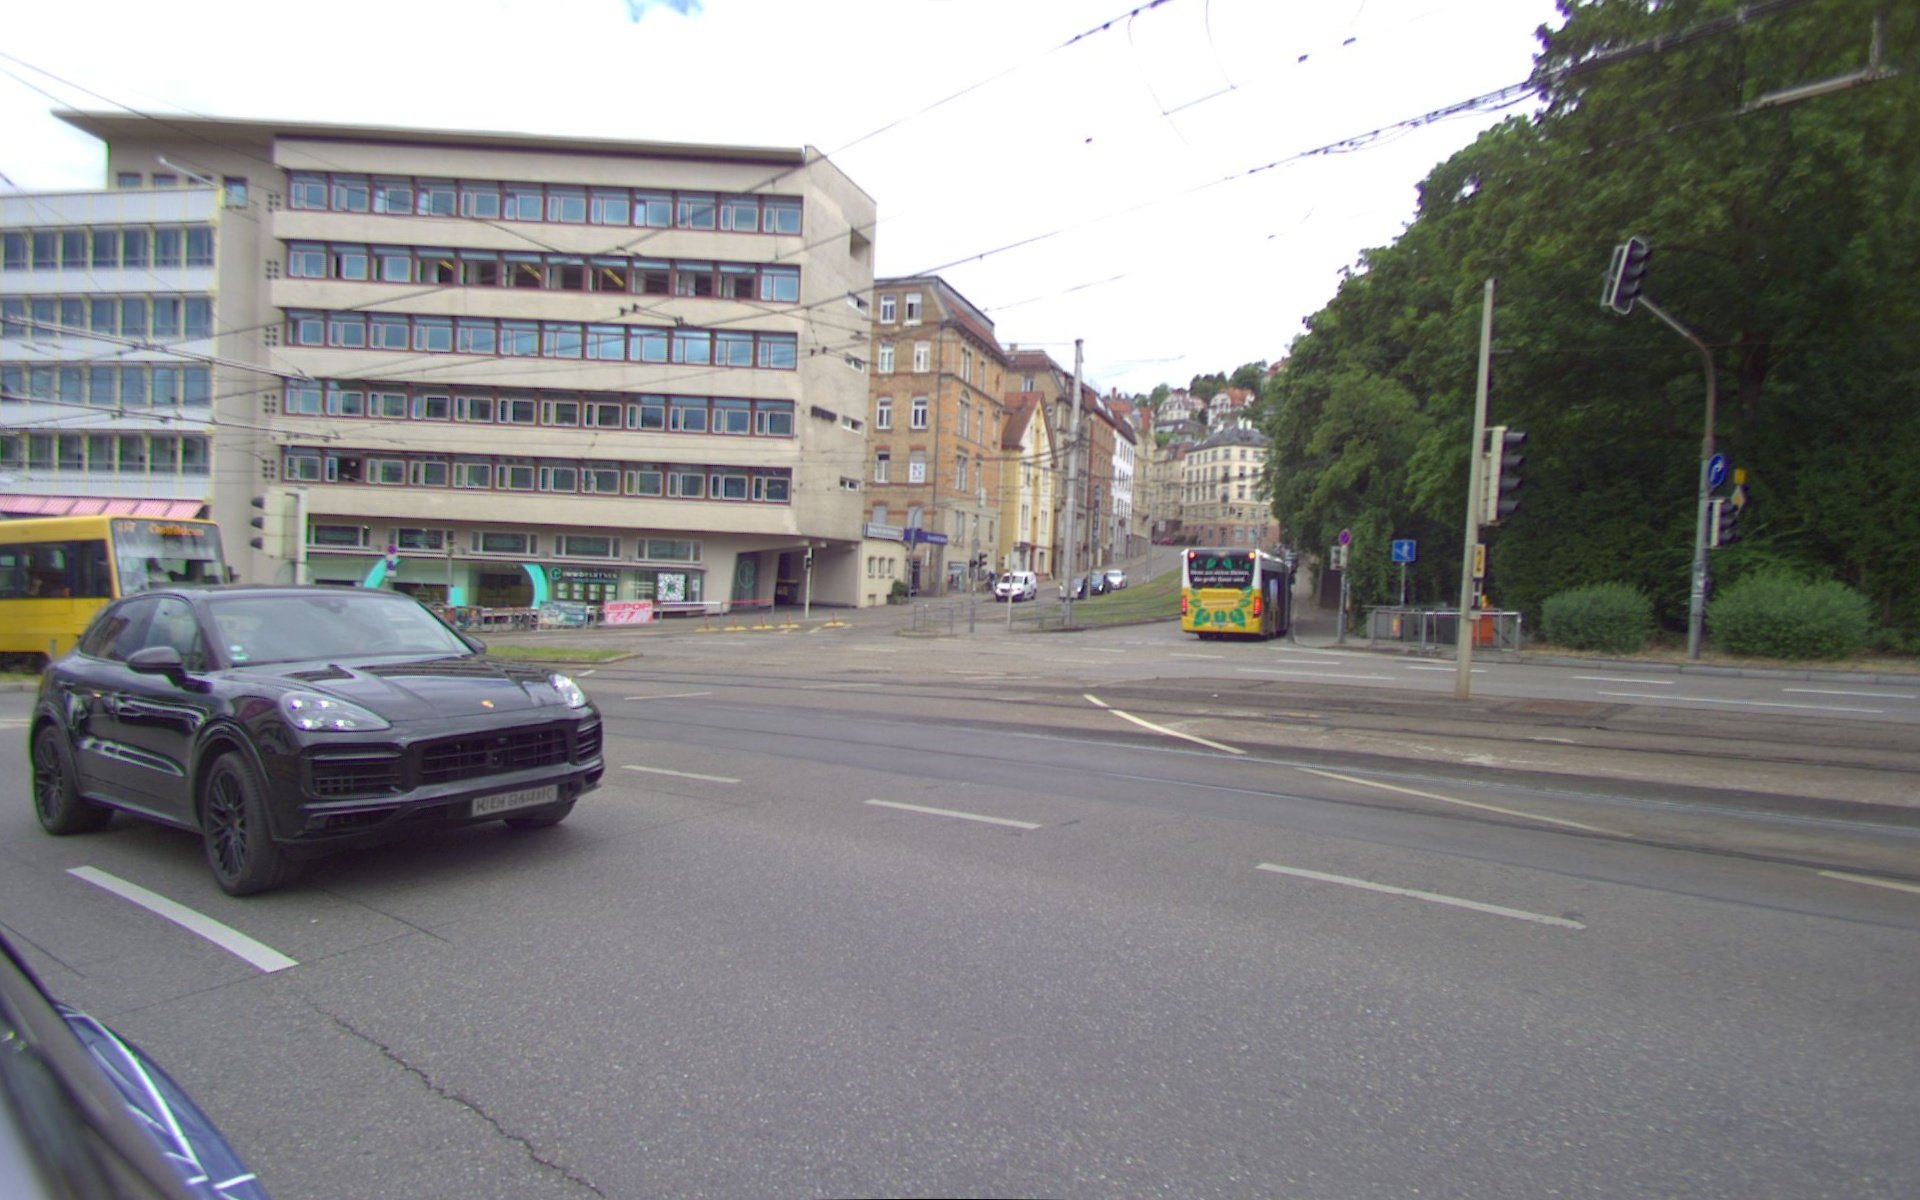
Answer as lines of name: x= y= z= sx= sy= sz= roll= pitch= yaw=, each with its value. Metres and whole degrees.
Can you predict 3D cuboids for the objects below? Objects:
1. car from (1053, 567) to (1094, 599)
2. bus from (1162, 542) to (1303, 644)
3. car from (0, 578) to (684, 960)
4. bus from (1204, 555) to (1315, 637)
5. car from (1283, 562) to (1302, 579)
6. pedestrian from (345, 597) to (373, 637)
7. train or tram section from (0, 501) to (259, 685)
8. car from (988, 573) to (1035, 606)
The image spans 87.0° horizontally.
car: x=7.779 y=-1.191 z=69.076 sx=1.985 sy=2.028 sz=3.975 roll=-1 pitch=1 yaw=19
bus: x=10.119 y=-0.228 z=36.385 sx=3.368 sy=3.052 sz=11.459 roll=-1 pitch=0 yaw=23
car: x=-4.269 y=0.747 z=6.674 sx=4.765 sy=1.697 sz=2.012 roll=0 pitch=2 yaw=32
bus: x=13.195 y=-0.185 z=43.765 sx=3.303 sy=3.066 sz=11.274 roll=-1 pitch=0 yaw=23
car: x=39.425 y=-3.479 z=119.955 sx=1.986 sy=1.851 sz=3.973 roll=-1 pitch=0 yaw=21
pedestrian: x=-26.676 y=0.759 z=44.944 sx=0.774 sy=1.721 sz=0.760 roll=-1 pitch=0 yaw=3
train or tram section: x=-23.221 y=-0.065 z=23.910 sx=14.355 sy=3.691 sz=2.874 roll=-1 pitch=-1 yaw=18
car: x=3.368 y=-0.667 z=65.320 sx=1.984 sy=2.029 sz=3.976 roll=-1 pitch=0 yaw=19
